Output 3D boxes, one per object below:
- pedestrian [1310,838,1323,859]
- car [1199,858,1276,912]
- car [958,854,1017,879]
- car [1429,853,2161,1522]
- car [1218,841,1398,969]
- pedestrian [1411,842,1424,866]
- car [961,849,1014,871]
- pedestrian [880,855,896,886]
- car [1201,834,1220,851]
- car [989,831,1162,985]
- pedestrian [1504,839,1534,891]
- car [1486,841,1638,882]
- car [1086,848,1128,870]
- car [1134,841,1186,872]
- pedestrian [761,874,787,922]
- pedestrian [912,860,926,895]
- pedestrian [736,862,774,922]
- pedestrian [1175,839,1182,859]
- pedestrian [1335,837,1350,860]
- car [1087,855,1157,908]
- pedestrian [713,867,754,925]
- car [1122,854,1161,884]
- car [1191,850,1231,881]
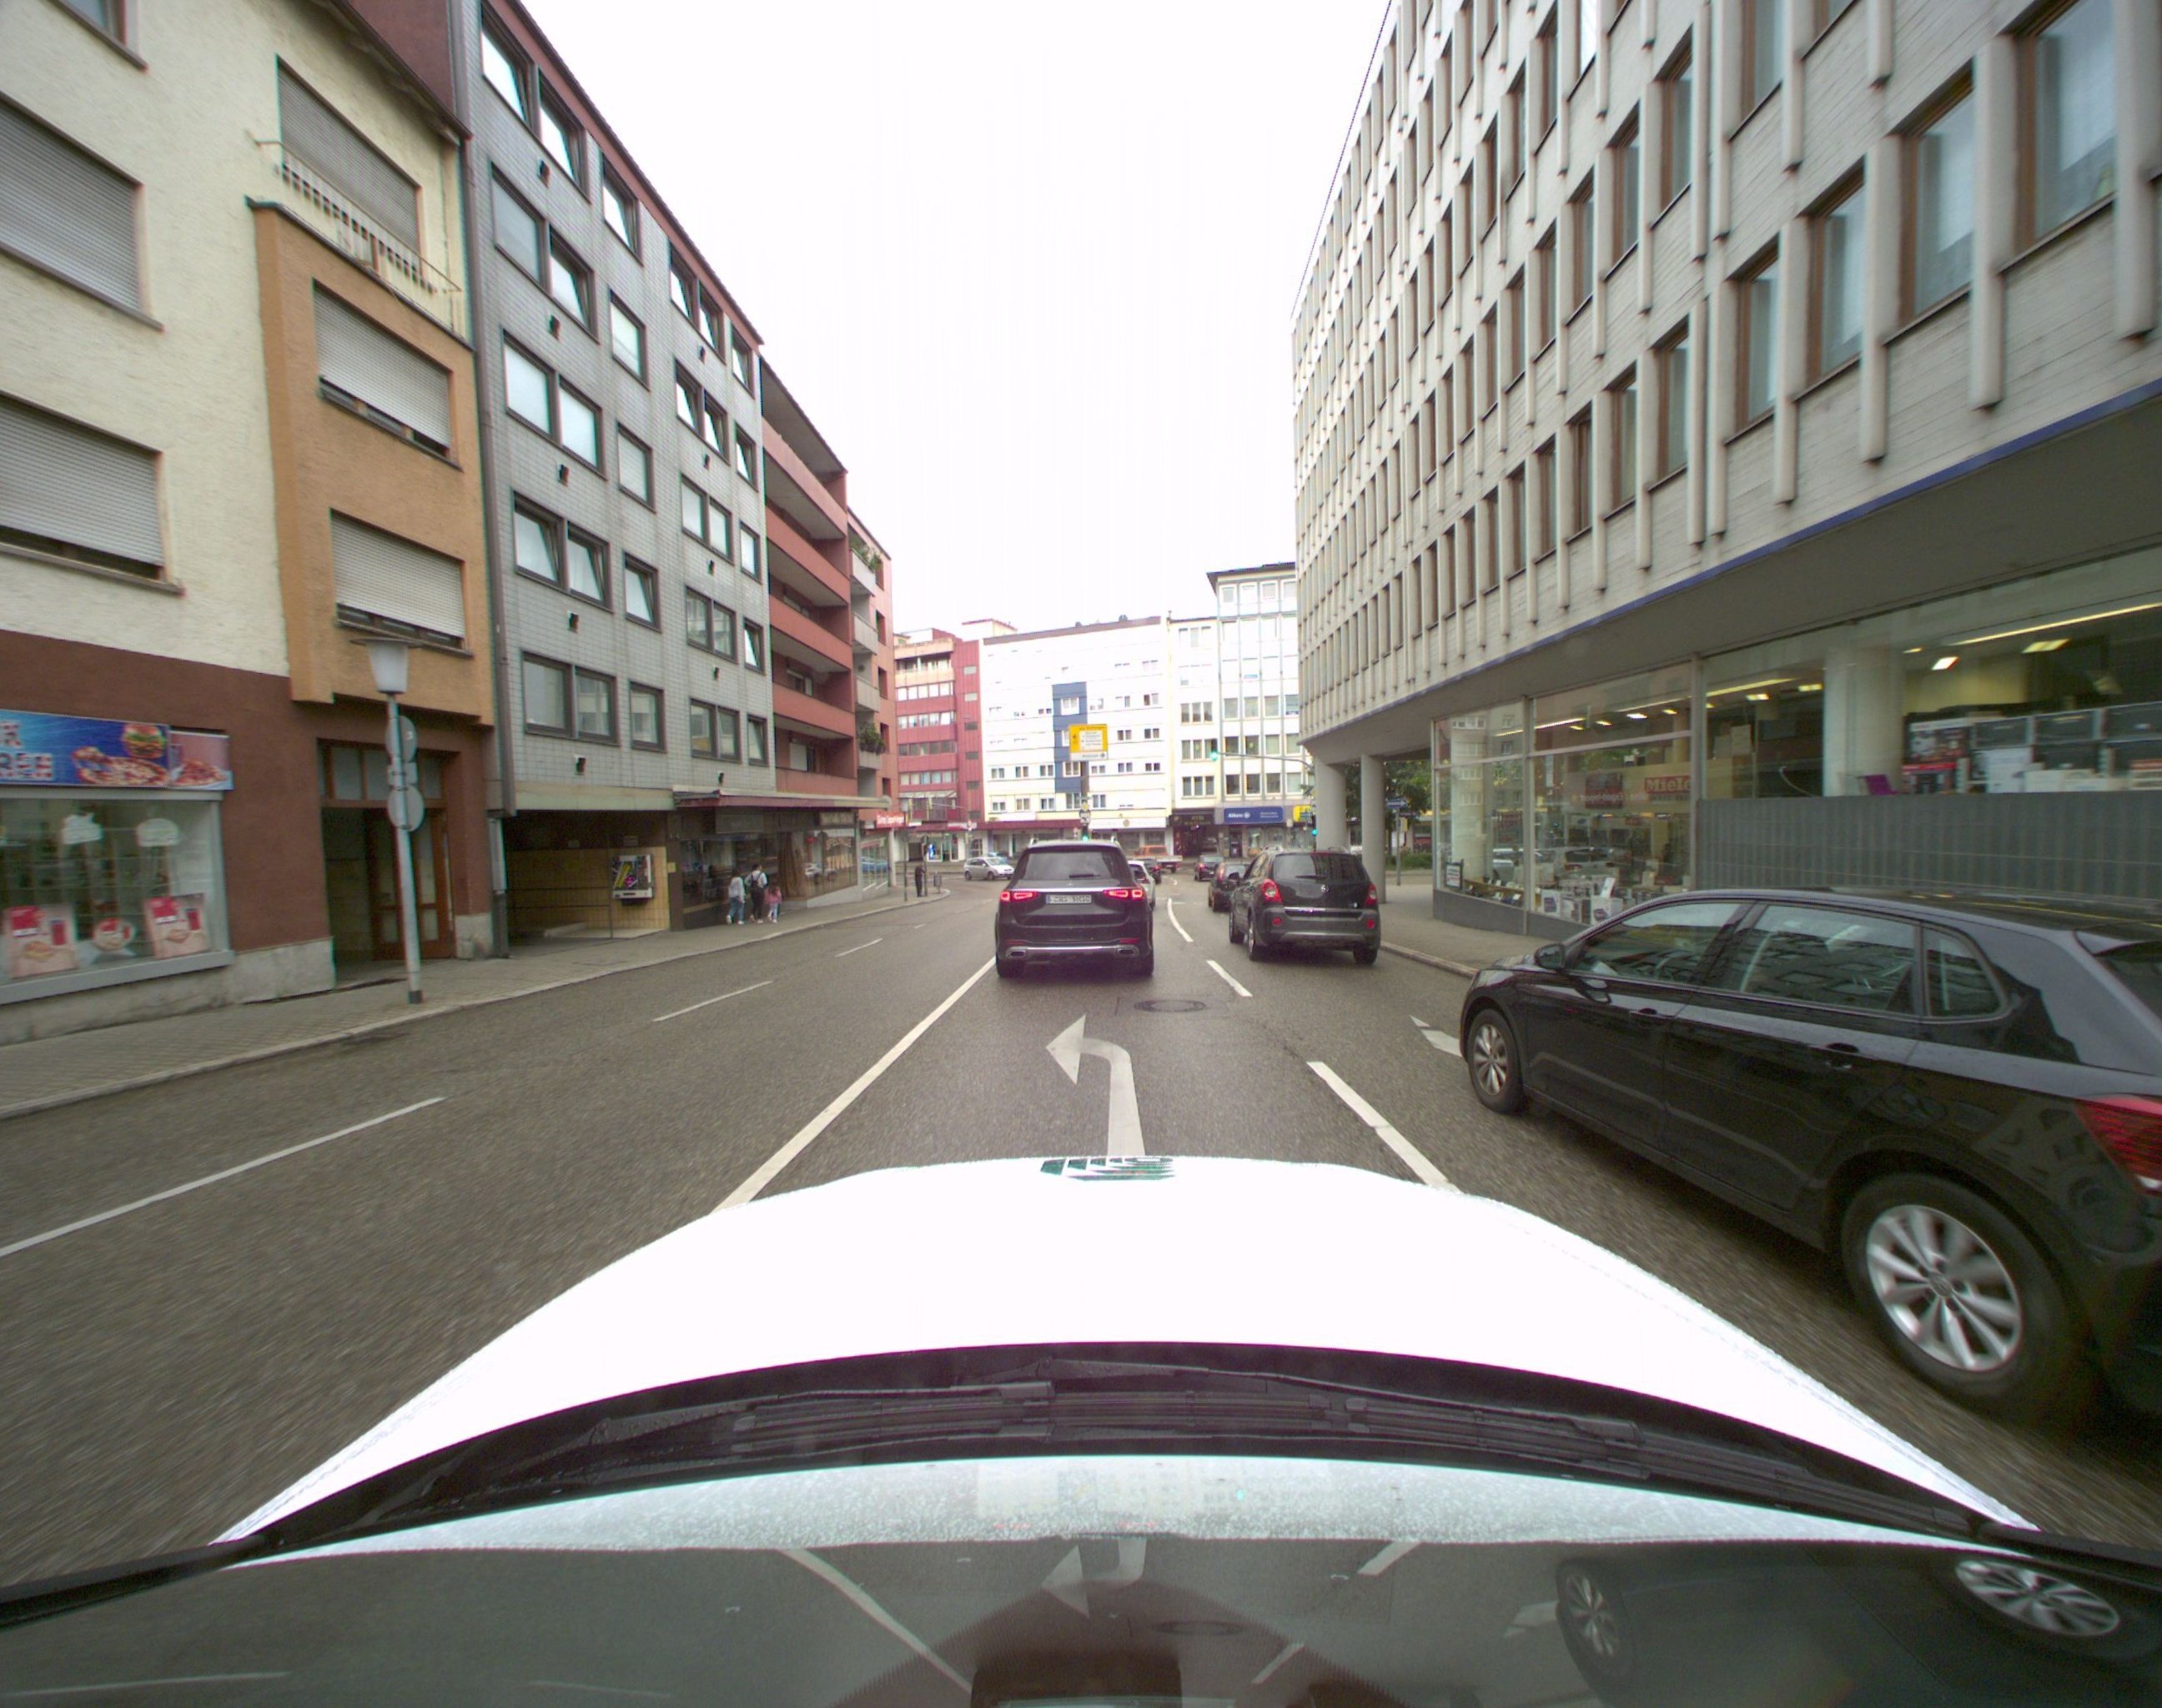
[{"bbox_3d":[20.114,-0.467,69.598,1.023,1.688,0.833,-2,6,11],"label":"pedestrian"},{"bbox_3d":[4.586,0.866,24.306,1.759,1.397,4.004,2,0,4],"label":"car"},{"bbox_3d":[-6.540,0.880,56.565,4.123,1.592,1.751,-1,1,43],"label":"car"},{"bbox_3d":[3.269,0.756,3.698,1.683,1.477,4.000,2,0,1],"label":"car"},{"bbox_3d":[3.479,0.689,13.388,1.890,1.695,4.509,2,0,3],"label":"car"},{"bbox_3d":[26.690,0.006,64.608,0.815,1.827,0.897,2,1,29],"label":"pedestrian"},{"bbox_3d":[-8.276,0.557,72.030,4.124,1.838,2.011,1,0,25],"label":"car"},{"bbox_3d":[-11.788,0.982,49.702,0.764,1.848,0.837,-1,0,-25],"label":"pedestrian"},{"bbox_3d":[13.563,-1.193,85.218,1.785,1.670,4.012,-2,0,11],"label":"car"},{"bbox_3d":[-0.035,0.631,11.944,2.032,1.799,4.663,0,0,1],"label":"car"},{"bbox_3d":[14.700,0.364,27.323,0.715,1.689,0.834,-4,-1,23],"label":"pedestrian"},{"bbox_3d":[18.693,0.307,31.797,4.790,1.494,1.868,-2,0,43],"label":"car"},{"bbox_3d":[1.847,0.414,59.371,1.927,1.515,4.641,1,-1,-13],"label":"car"},{"bbox_3d":[5.900,0.197,61.697,2.245,2.228,5.403,0,0,-14],"label":"car"},{"bbox_3d":[-8.793,1.258,23.334,0.532,1.323,0.722,1,0,-7],"label":"pedestrian"},{"bbox_3d":[-8.071,1.176,40.652,0.552,1.697,0.623,-1,0,-2],"label":"pedestrian"},{"bbox_3d":[-9.347,1.087,23.355,0.826,1.689,0.722,1,0,-7],"label":"pedestrian"},{"bbox_3d":[8.841,-0.461,73.774,0.560,1.688,0.758,-2,6,8],"label":"pedestrian"},{"bbox_3d":[21.942,-0.437,68.314,1.023,1.798,0.833,-2,6,11],"label":"pedestrian"},{"bbox_3d":[1.354,0.778,25.135,1.864,1.495,4.408,0,0,6],"label":"car"},{"bbox_3d":[-9.633,1.148,22.599,0.826,1.561,0.722,1,0,-7],"label":"pedestrian"},{"bbox_3d":[3.254,0.759,44.526,1.986,1.486,4.239,-2,0,2],"label":"car"},{"bbox_3d":[7.243,0.622,45.735,1.815,1.658,4.500,0,-1,4],"label":"car"}]
